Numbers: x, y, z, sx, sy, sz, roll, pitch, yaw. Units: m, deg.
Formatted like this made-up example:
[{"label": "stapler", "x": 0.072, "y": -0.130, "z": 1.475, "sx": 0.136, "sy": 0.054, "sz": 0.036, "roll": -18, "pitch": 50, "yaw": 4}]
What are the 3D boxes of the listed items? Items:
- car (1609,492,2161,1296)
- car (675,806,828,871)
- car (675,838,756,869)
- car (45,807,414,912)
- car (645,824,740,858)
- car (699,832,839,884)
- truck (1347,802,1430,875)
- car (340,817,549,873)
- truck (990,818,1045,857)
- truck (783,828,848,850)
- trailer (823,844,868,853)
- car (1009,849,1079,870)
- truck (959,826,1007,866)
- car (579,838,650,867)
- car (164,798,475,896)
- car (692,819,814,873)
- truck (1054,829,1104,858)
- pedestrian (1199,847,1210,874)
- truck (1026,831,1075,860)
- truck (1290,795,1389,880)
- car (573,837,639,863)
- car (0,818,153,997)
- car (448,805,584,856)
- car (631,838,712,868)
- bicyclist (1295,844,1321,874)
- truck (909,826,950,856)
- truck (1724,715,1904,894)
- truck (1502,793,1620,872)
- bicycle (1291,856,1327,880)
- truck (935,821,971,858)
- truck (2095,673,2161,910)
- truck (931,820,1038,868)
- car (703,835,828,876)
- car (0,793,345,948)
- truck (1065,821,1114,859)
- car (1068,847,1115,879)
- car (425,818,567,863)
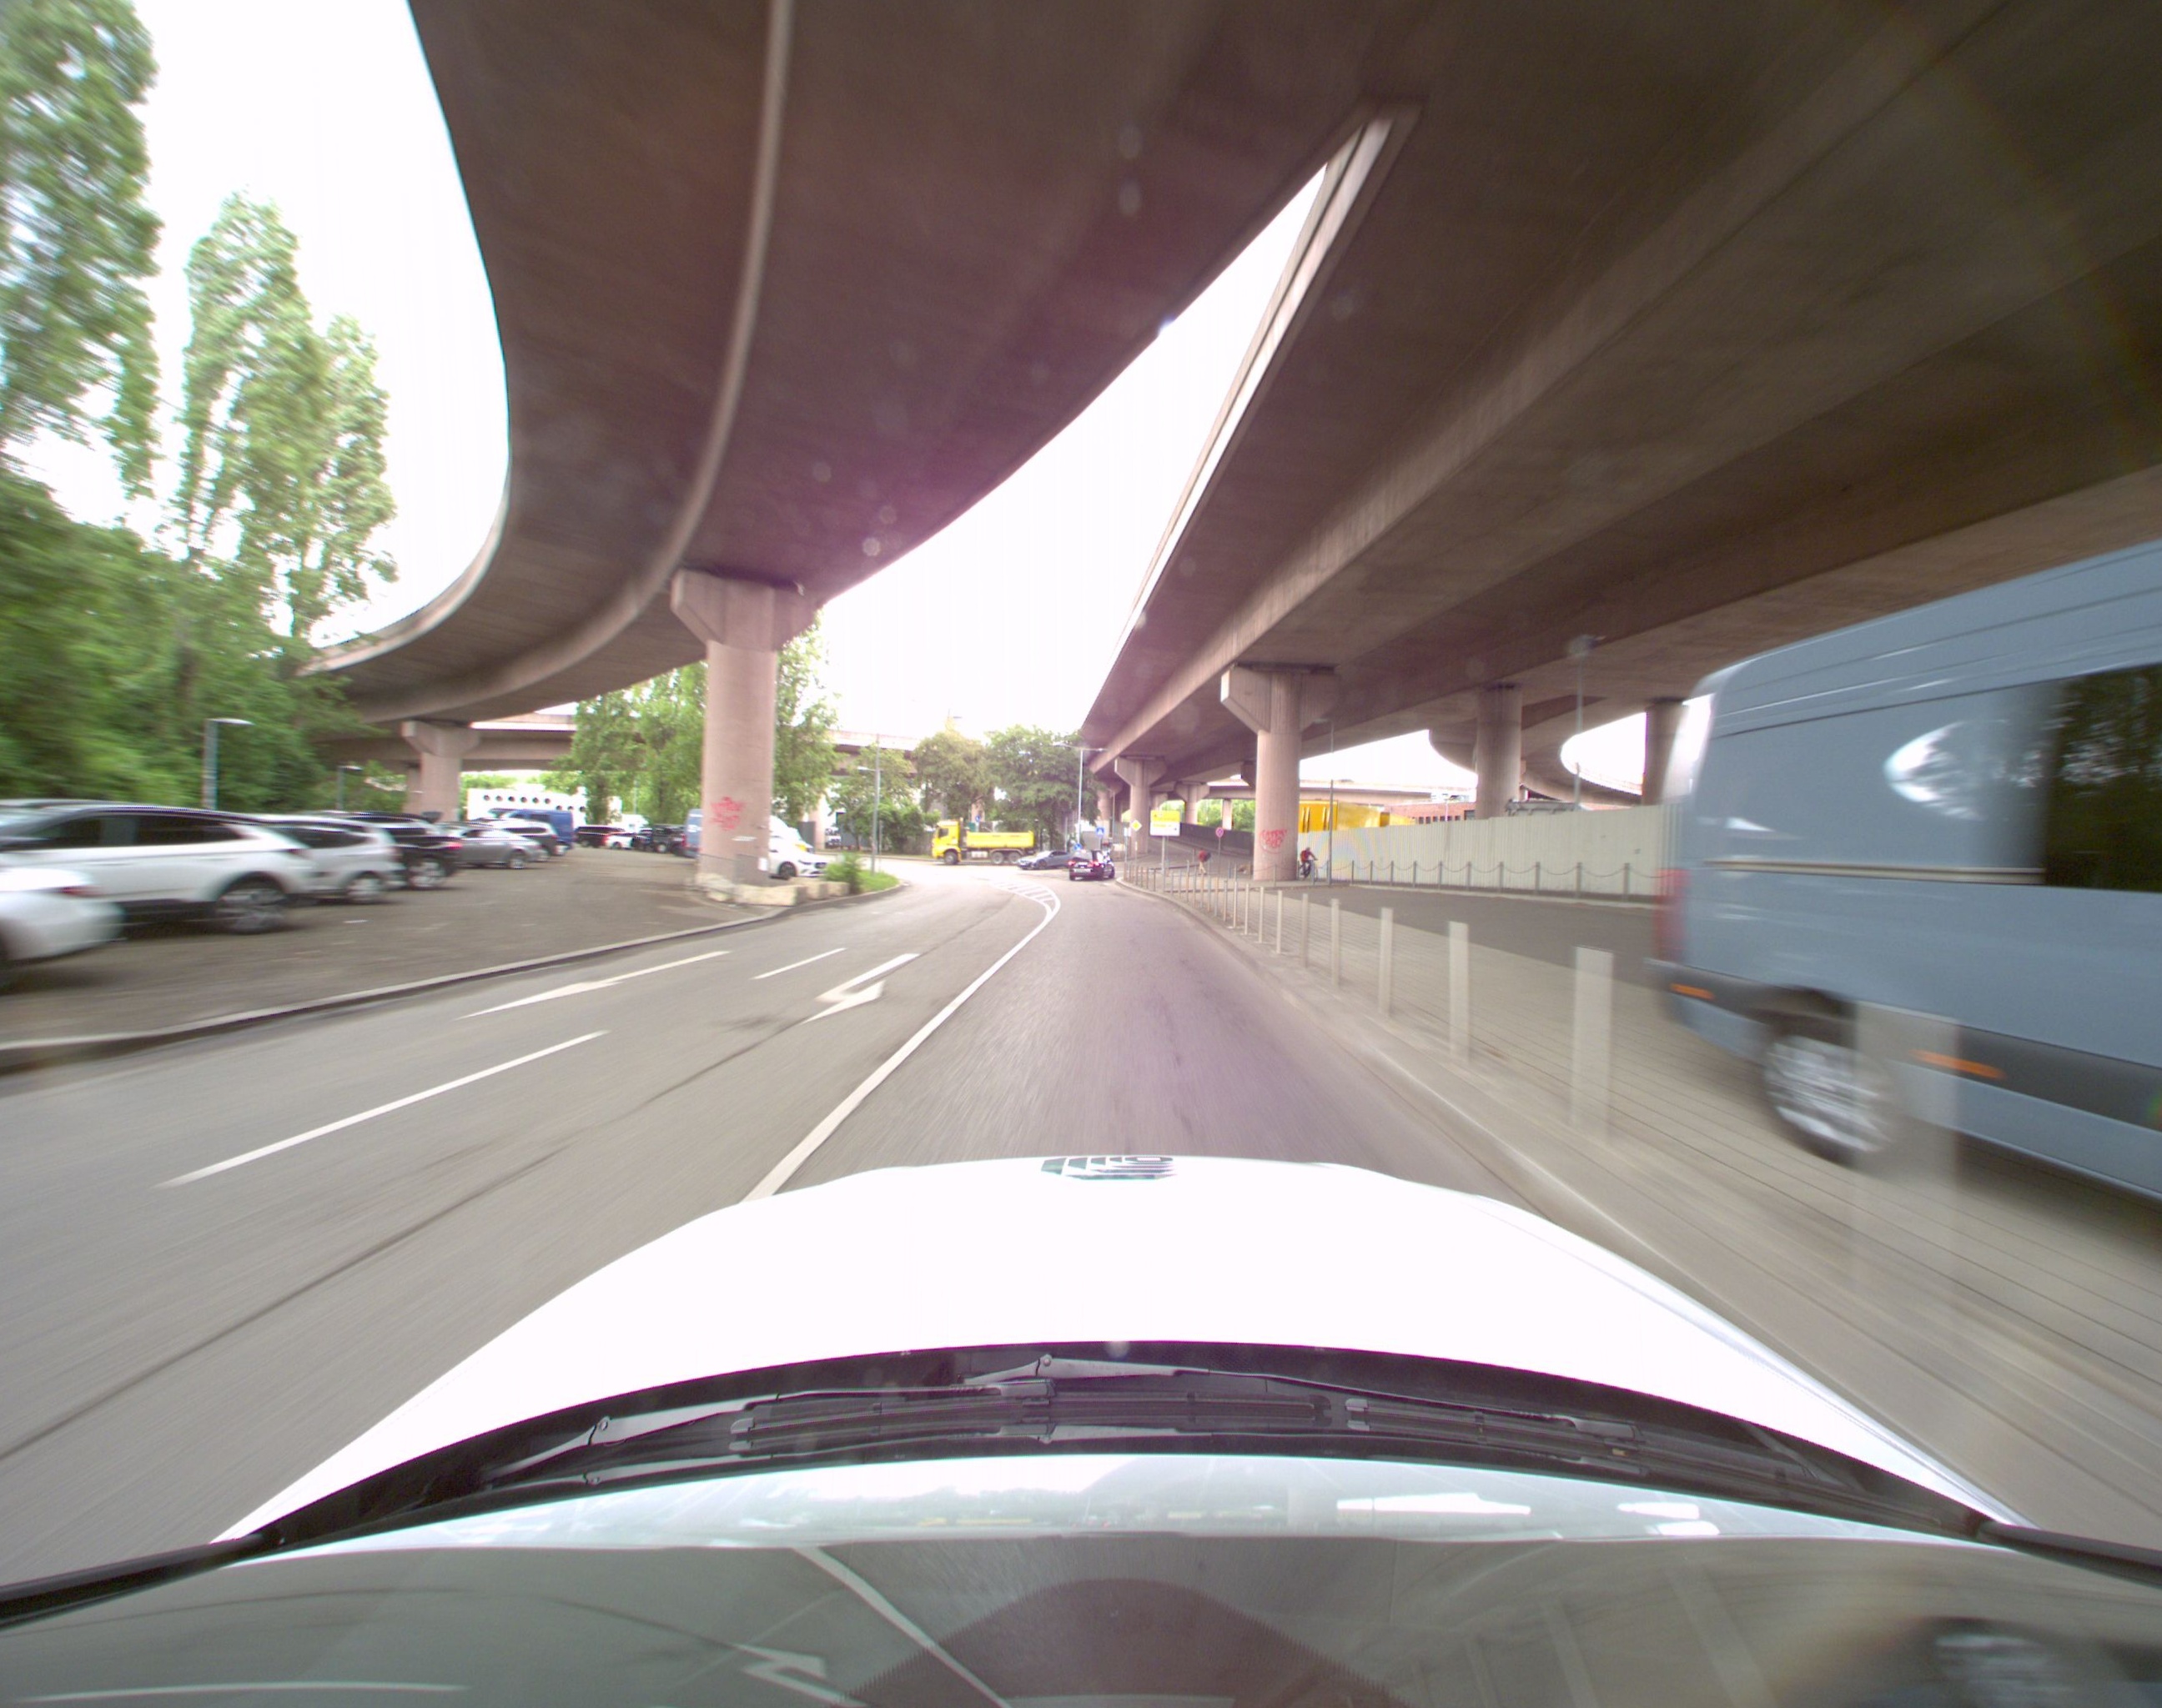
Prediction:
[{"label": "car", "x": 4.505, "y": 0.134, "z": 2.367, "sx": 1.987, "sy": 2.613, "sz": 6.073, "roll": 0, "pitch": 0, "yaw": 0}, {"label": "car", "x": -15.511, "y": -0.737, "z": 38.662, "sx": 6.155, "sy": 2.724, "sz": 2.368, "roll": 2, "pitch": 0, "yaw": 0}, {"label": "car", "x": -20.970, "y": -0.047, "z": 46.892, "sx": 3.995, "sy": 1.740, "sz": 2.010, "roll": 0, "pitch": 0, "yaw": -16}, {"label": "car", "x": -13.691, "y": 0.075, "z": 13.424, "sx": 1.772, "sy": 1.454, "sz": 3.765, "roll": 1, "pitch": 0, "yaw": 19}, {"label": "car", "x": -25.678, "y": -0.821, "z": 53.988, "sx": 5.075, "sy": 2.072, "sz": 2.258, "roll": 1, "pitch": -1, "yaw": -1}, {"label": "car", "x": -11.608, "y": 0.123, "z": 30.466, "sx": 4.356, "sy": 1.606, "sz": 1.959, "roll": 4, "pitch": 0, "yaw": 8}, {"label": "truck", "x": 22.491, "y": -1.015, "z": 59.265, "sx": 3.107, "sy": 4.903, "sz": 8.772, "roll": 1, "pitch": 0, "yaw": 38}, {"label": "car", "x": -19.768, "y": -0.269, "z": 25.626, "sx": 1.842, "sy": 1.487, "sz": 4.912, "roll": 4, "pitch": 1, "yaw": 19}, {"label": "truck", "x": -6.799, "y": -1.786, "z": 85.343, "sx": 3.081, "sy": 3.867, "sz": 7.982, "roll": 0, "pitch": 2, "yaw": -25}, {"label": "truck", "x": -31.960, "y": -1.853, "z": 98.013, "sx": 7.149, "sy": 2.551, "sz": 2.738, "roll": 1, "pitch": 1, "yaw": 18}, {"label": "trailer", "x": -26.586, "y": -0.601, "z": 91.924, "sx": 2.169, "sy": 0.743, "sz": 6.217, "roll": -4, "pitch": 4, "yaw": -44}, {"label": "car", "x": -2.607, "y": 0.373, "z": 58.657, "sx": 2.146, "sy": 1.502, "sz": 4.961, "roll": 1, "pitch": 1, "yaw": 44}, {"label": "truck", "x": -10.405, "y": -0.798, "z": 85.499, "sx": 3.079, "sy": 3.963, "sz": 6.869, "roll": 2, "pitch": 0, "yaw": -24}, {"label": "car", "x": -33.192, "y": -0.139, "z": 58.106, "sx": 3.995, "sy": 2.013, "sz": 1.989, "roll": 0, "pitch": 0, "yaw": -16}, {"label": "car", "x": -15.186, "y": -0.115, "z": 16.591, "sx": 1.842, "sy": 1.691, "sz": 4.184, "roll": 2, "pitch": 0, "yaw": 19}, {"label": "car", "x": -14.424, "y": -0.362, "z": 35.960, "sx": 4.536, "sy": 2.111, "sz": 1.852, "roll": 2, "pitch": 0, "yaw": 3}, {"label": "truck", "x": -0.265, "y": -1.192, "z": 88.756, "sx": 2.930, "sy": 2.898, "sz": 6.504, "roll": 0, "pitch": 2, "yaw": -25}, {"label": "pedestrian", "x": 7.695, "y": 0.411, "z": 50.704, "sx": 0.537, "sy": 1.676, "sz": 0.555, "roll": 0, "pitch": 1, "yaw": -16}, {"label": "truck", "x": -3.297, "y": -0.984, "z": 87.154, "sx": 2.930, "sy": 2.898, "sz": 6.504, "roll": 0, "pitch": 2, "yaw": -25}, {"label": "truck", "x": 16.506, "y": -0.919, "z": 51.509, "sx": 3.107, "sy": 4.917, "sz": 8.772, "roll": 1, "pitch": 0, "yaw": 38}, {"label": "car", "x": -36.846, "y": -0.295, "z": 63.289, "sx": 3.995, "sy": 2.013, "sz": 1.989, "roll": 0, "pitch": 0, "yaw": -16}, {"label": "car", "x": -10.780, "y": 0.365, "z": 5.902, "sx": 1.979, "sy": 1.480, "sz": 4.847, "roll": 5, "pitch": -1, "yaw": 16}, {"label": "car", "x": -26.550, "y": -1.058, "z": 38.519, "sx": 2.101, "sy": 2.254, "sz": 5.040, "roll": 0, "pitch": 0, "yaw": 16}, {"label": "car", "x": -24.250, "y": -0.085, "z": 48.359, "sx": 3.995, "sy": 1.730, "sz": 1.989, "roll": 0, "pitch": 0, "yaw": -16}, {"label": "bicyclist", "x": 10.789, "y": 0.222, "z": 38.738, "sx": 0.796, "sy": 1.405, "sz": 1.063, "roll": 0, "pitch": 0, "yaw": -10}, {"label": "truck", "x": -19.622, "y": -1.680, "z": 104.996, "sx": 3.072, "sy": 3.618, "sz": 7.846, "roll": 0, "pitch": 2, "yaw": -27}, {"label": "truck", "x": 22.059, "y": -1.244, "z": 25.103, "sx": 3.107, "sy": 4.443, "sz": 9.788, "roll": 0, "pitch": 0, "yaw": 36}, {"label": "truck", "x": 21.068, "y": -0.893, "z": 35.429, "sx": 3.107, "sy": 2.944, "sz": 8.773, "roll": -3, "pitch": 0, "yaw": 39}, {"label": "bicycle", "x": 10.807, "y": 0.649, "z": 38.660, "sx": 0.802, "sy": 1.097, "sz": 2.124, "roll": 0, "pitch": 0, "yaw": -10}, {"label": "truck", "x": -17.177, "y": -2.007, "z": 108.662, "sx": 3.214, "sy": 4.779, "sz": 7.994, "roll": 0, "pitch": 2, "yaw": -20}, {"label": "truck", "x": 22.812, "y": -1.289, "z": 14.761, "sx": 3.107, "sy": 4.923, "sz": 9.787, "roll": 0, "pitch": 0, "yaw": 36}, {"label": "truck", "x": -7.577, "y": -0.824, "z": 64.820, "sx": 8.204, "sy": 3.480, "sz": 2.933, "roll": 1, "pitch": 4, "yaw": -5}, {"label": "car", "x": -12.830, "y": 0.048, "z": 33.275, "sx": 4.223, "sy": 1.371, "sz": 2.003, "roll": 4, "pitch": 1, "yaw": 6}, {"label": "car", "x": -12.182, "y": 0.147, "z": 9.798, "sx": 1.979, "sy": 1.583, "sz": 4.418, "roll": 5, "pitch": 0, "yaw": 17}, {"label": "truck", "x": 0.889, "y": -1.744, "z": 96.108, "sx": 3.077, "sy": 4.299, "sz": 7.993, "roll": 0, "pitch": 2, "yaw": -21}, {"label": "car", "x": 0.659, "y": 0.475, "z": 45.807, "sx": 1.982, "sy": 1.679, "sz": 4.572, "roll": -1, "pitch": 0, "yaw": 9}, {"label": "car", "x": -22.932, "y": -0.505, "z": 32.135, "sx": 1.879, "sy": 1.675, "sz": 4.176, "roll": 0, "pitch": 0, "yaw": 21}]
